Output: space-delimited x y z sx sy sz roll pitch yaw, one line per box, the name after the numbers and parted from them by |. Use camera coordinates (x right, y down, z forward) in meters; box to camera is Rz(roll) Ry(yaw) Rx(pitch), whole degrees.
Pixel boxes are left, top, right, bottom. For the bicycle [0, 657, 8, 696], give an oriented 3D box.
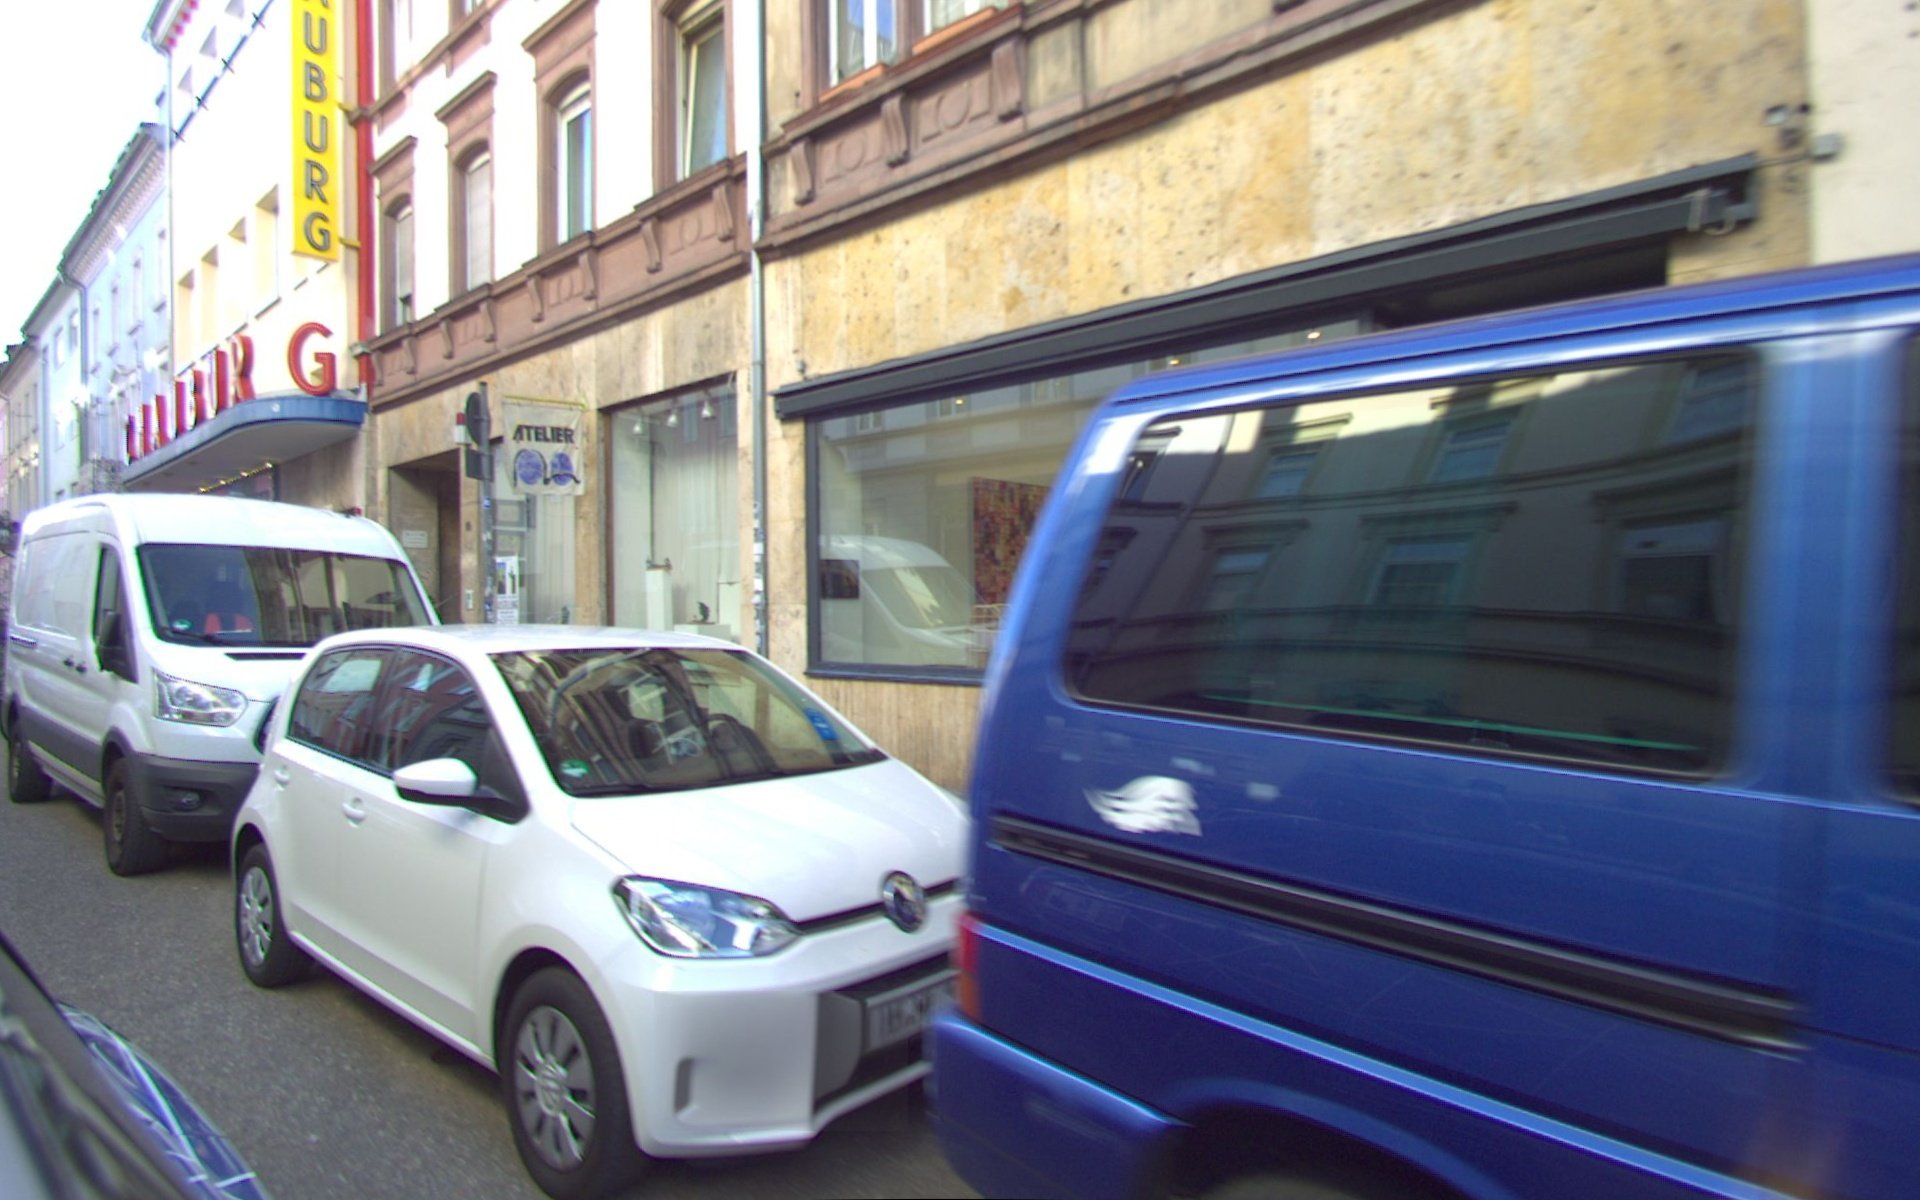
-21.496 1.698 22.581 1.299 0.823 0.253 -2 -1 42 | bicycle

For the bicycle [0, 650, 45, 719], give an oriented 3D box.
-15.807 1.387 16.910 1.862 1.055 0.438 -2 0 38 | bicycle

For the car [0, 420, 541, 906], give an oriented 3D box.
-5.770 0.400 7.898 5.917 2.471 2.146 -2 -3 40 | car

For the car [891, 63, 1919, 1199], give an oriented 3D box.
2.199 0.474 0.927 4.612 1.906 1.808 -2 -4 42 | car

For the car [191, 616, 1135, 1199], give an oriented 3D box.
-1.422 0.810 3.885 3.836 1.458 1.629 -2 -2 40 | car

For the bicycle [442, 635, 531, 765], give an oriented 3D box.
-3.967 0.818 8.462 0.844 1.044 0.220 -1 -1 30 | bicycle
